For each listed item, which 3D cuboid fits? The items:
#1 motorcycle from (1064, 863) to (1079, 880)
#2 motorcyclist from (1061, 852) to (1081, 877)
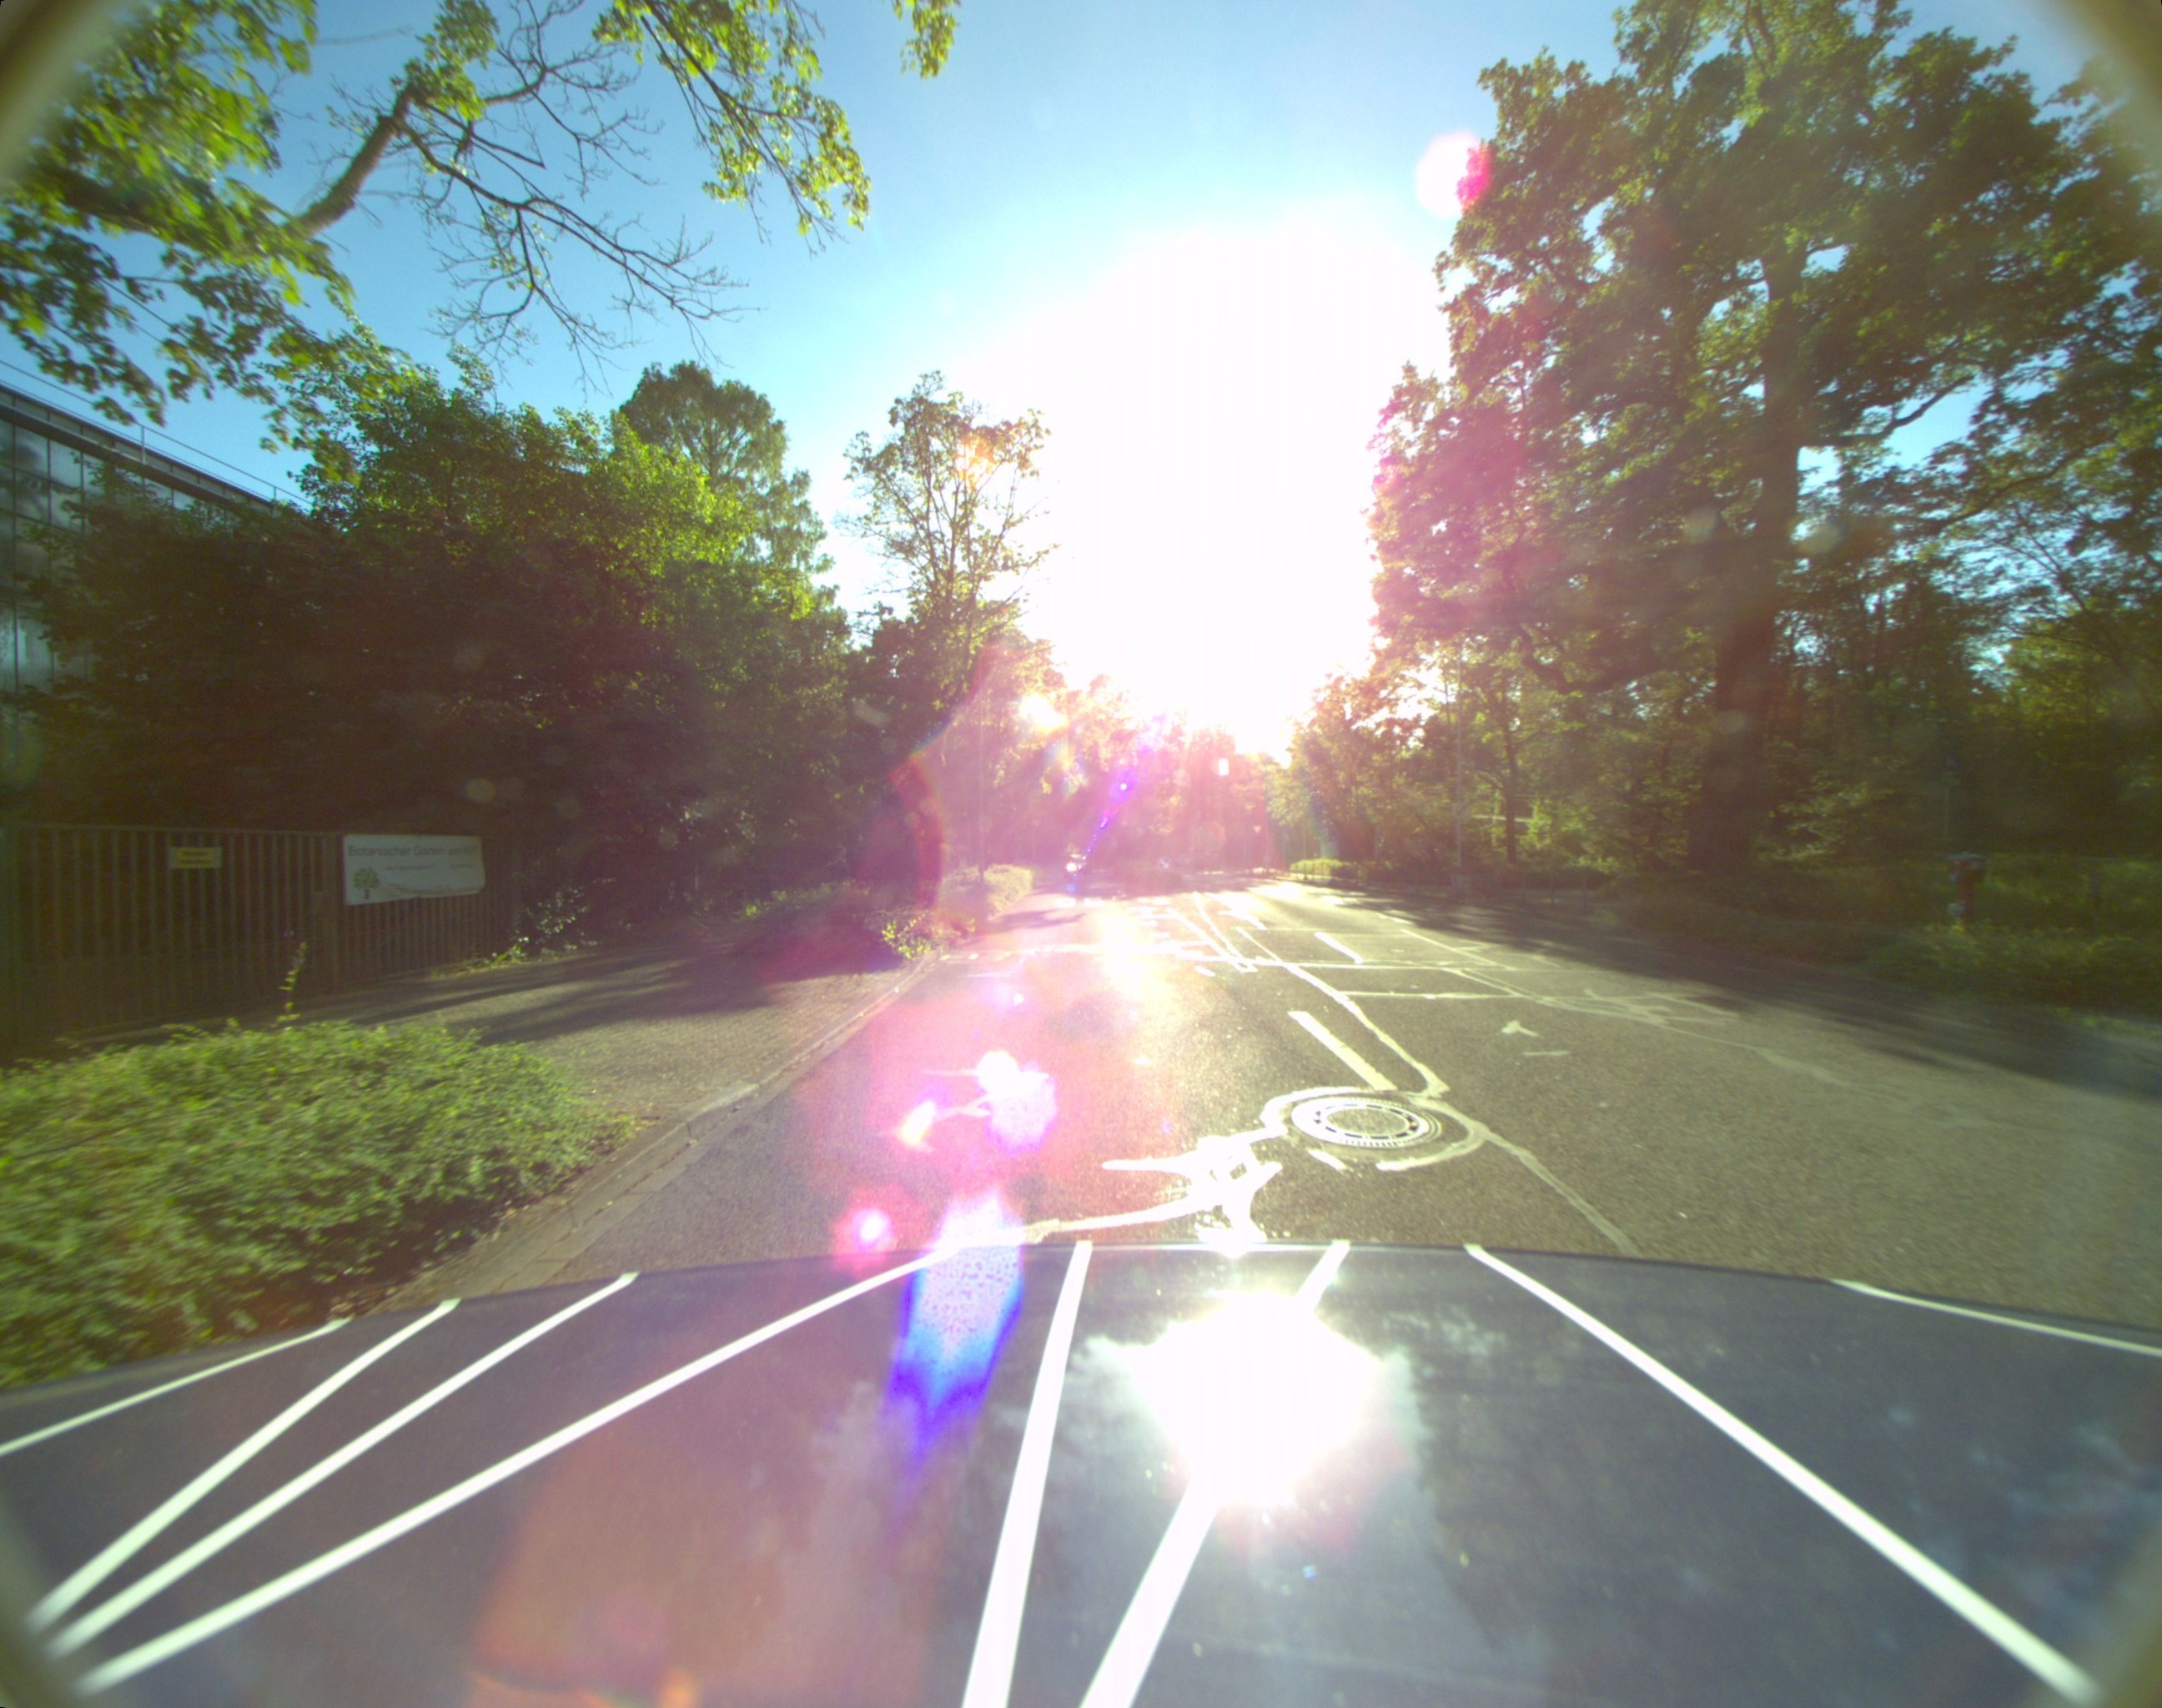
[{"bbox_3d":[-0.560,1.047,45.605,0.807,0.907,2.712,-2,0,0],"label":"motorcycle"},{"bbox_3d":[-0.583,0.639,45.602,1.138,1.419,1.566,-2,0,0],"label":"motorcyclist"}]
